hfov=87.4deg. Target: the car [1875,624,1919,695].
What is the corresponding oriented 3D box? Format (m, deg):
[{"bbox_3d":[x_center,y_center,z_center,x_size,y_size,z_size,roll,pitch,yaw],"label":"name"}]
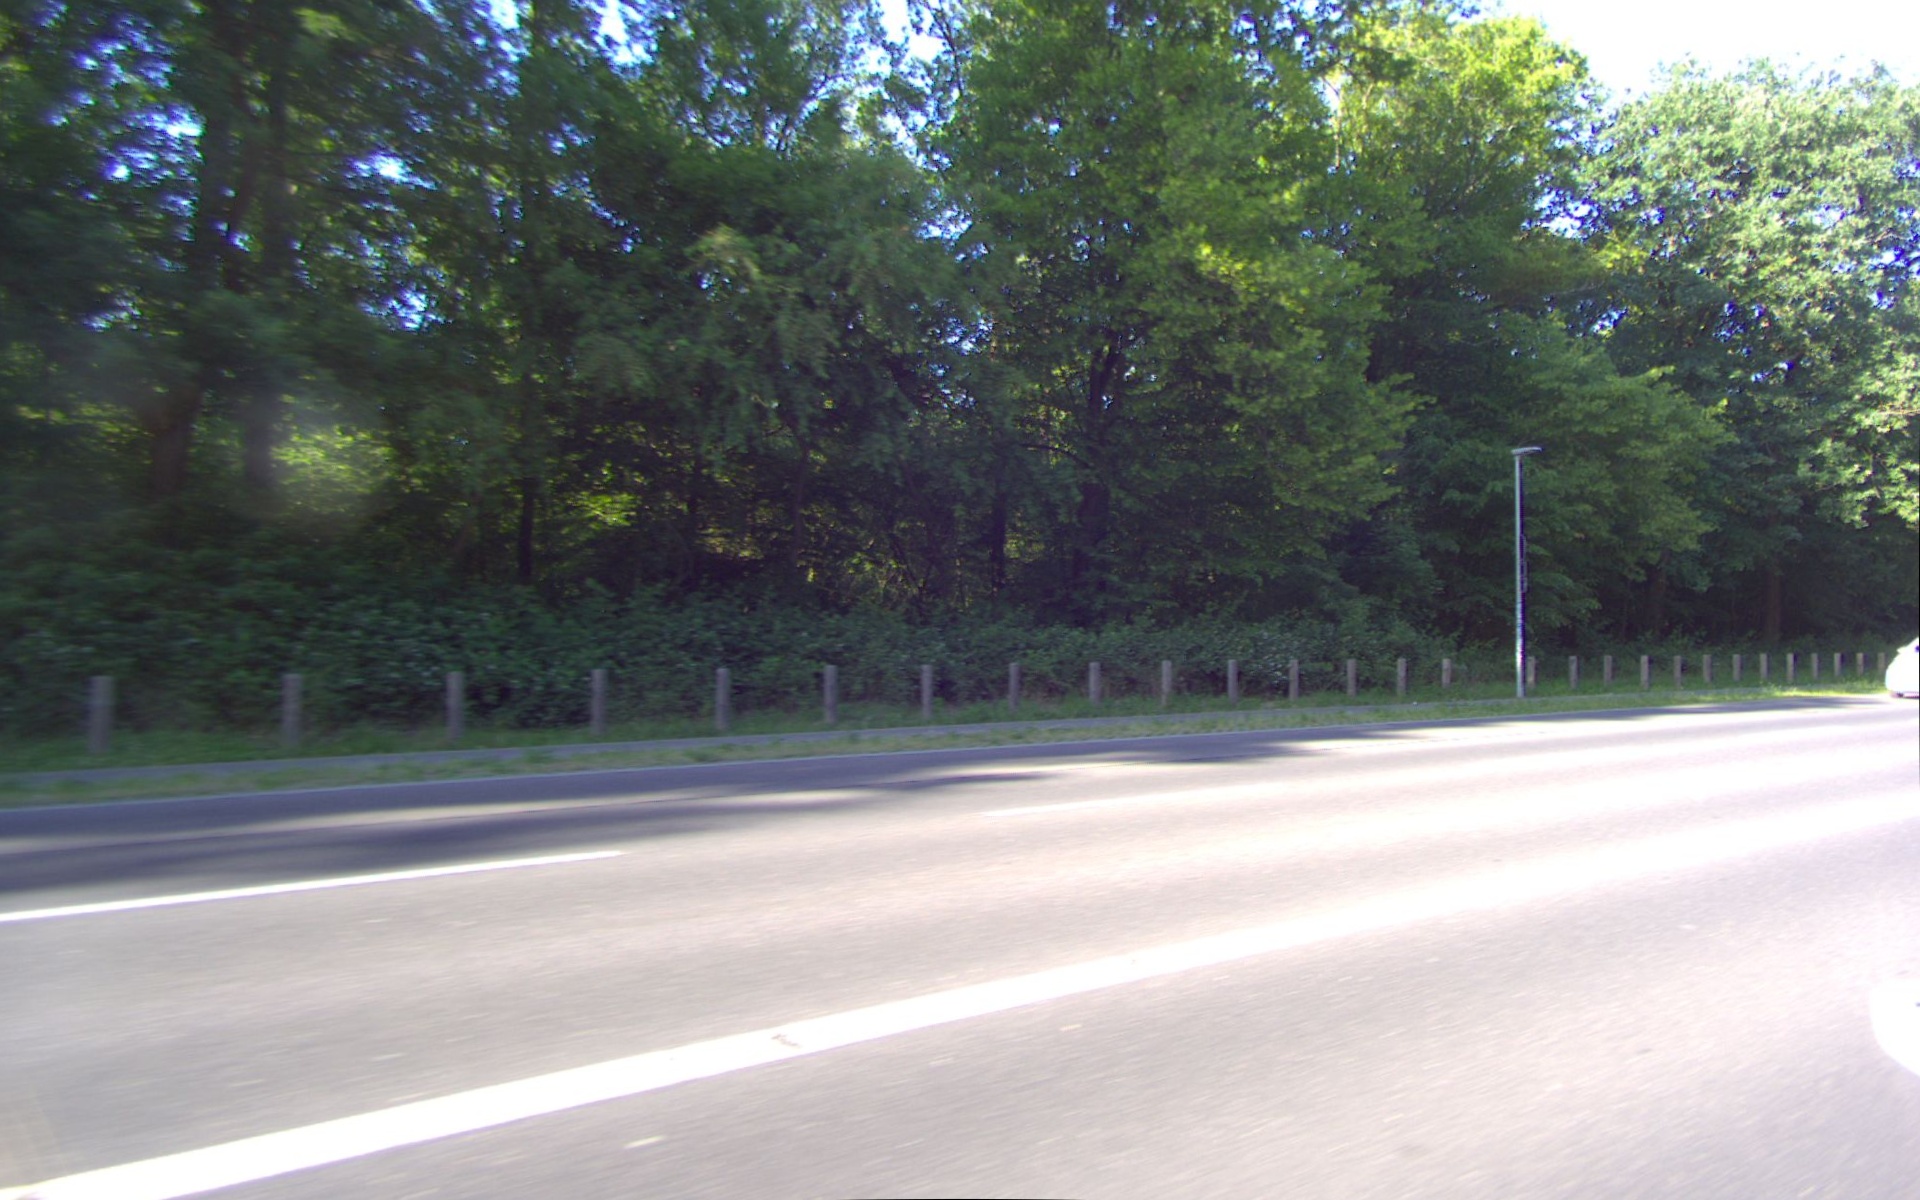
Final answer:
[{"bbox_3d":[21.957,1.295,21.984,4.257,1.456,1.580,1,1,-29],"label":"car"}]
